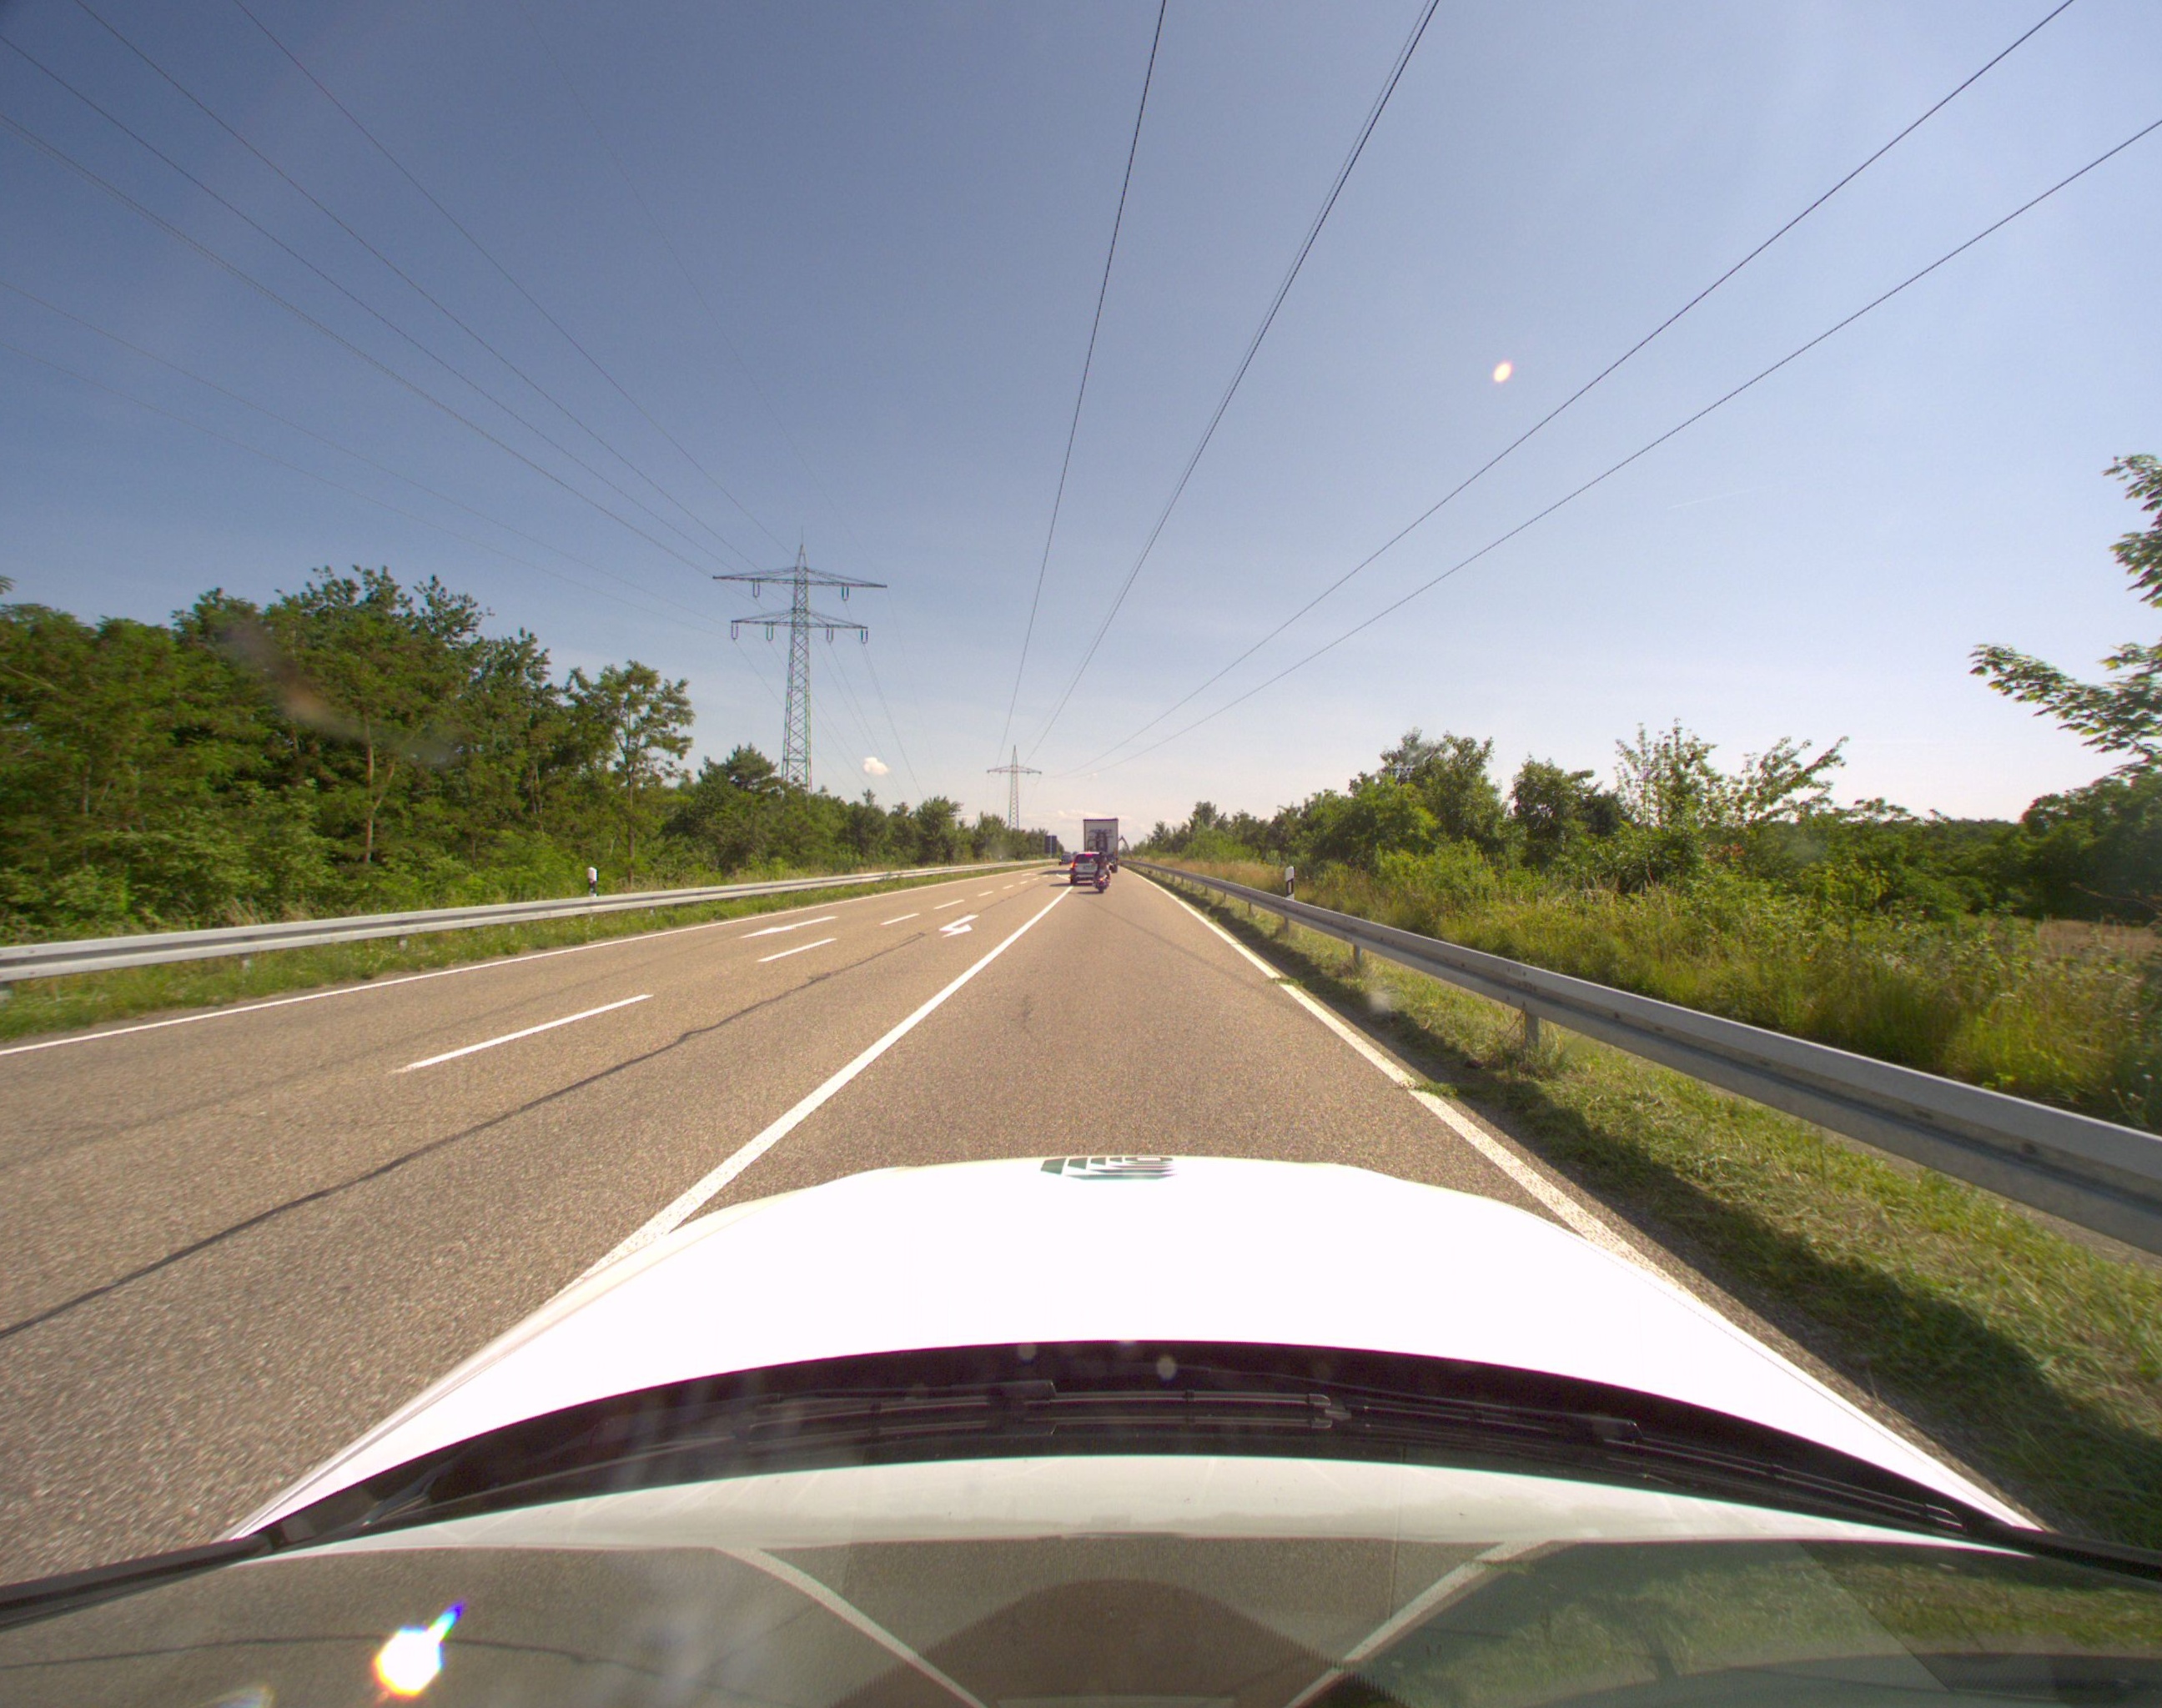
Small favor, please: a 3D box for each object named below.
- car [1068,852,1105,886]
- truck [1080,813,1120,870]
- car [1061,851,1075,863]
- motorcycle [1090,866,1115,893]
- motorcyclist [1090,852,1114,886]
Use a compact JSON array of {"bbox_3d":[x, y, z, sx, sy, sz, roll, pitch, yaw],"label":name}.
[{"bbox_3d":[0.305,0.669,38.730,1.695,1.536,3.500,0,0,1],"label":"car"},{"bbox_3d":[1.725,-0.899,67.159,2.956,4.187,14.830,0,0,2],"label":"truck"},{"bbox_3d":[-1.755,0.400,108.988,1.721,1.491,4.423,-1,0,1],"label":"car"},{"bbox_3d":[0.778,0.943,30.707,0.856,0.915,2.227,0,0,-1],"label":"motorcycle"},{"bbox_3d":[0.788,0.551,30.777,0.834,1.280,0.919,0,0,-1],"label":"motorcyclist"}]
